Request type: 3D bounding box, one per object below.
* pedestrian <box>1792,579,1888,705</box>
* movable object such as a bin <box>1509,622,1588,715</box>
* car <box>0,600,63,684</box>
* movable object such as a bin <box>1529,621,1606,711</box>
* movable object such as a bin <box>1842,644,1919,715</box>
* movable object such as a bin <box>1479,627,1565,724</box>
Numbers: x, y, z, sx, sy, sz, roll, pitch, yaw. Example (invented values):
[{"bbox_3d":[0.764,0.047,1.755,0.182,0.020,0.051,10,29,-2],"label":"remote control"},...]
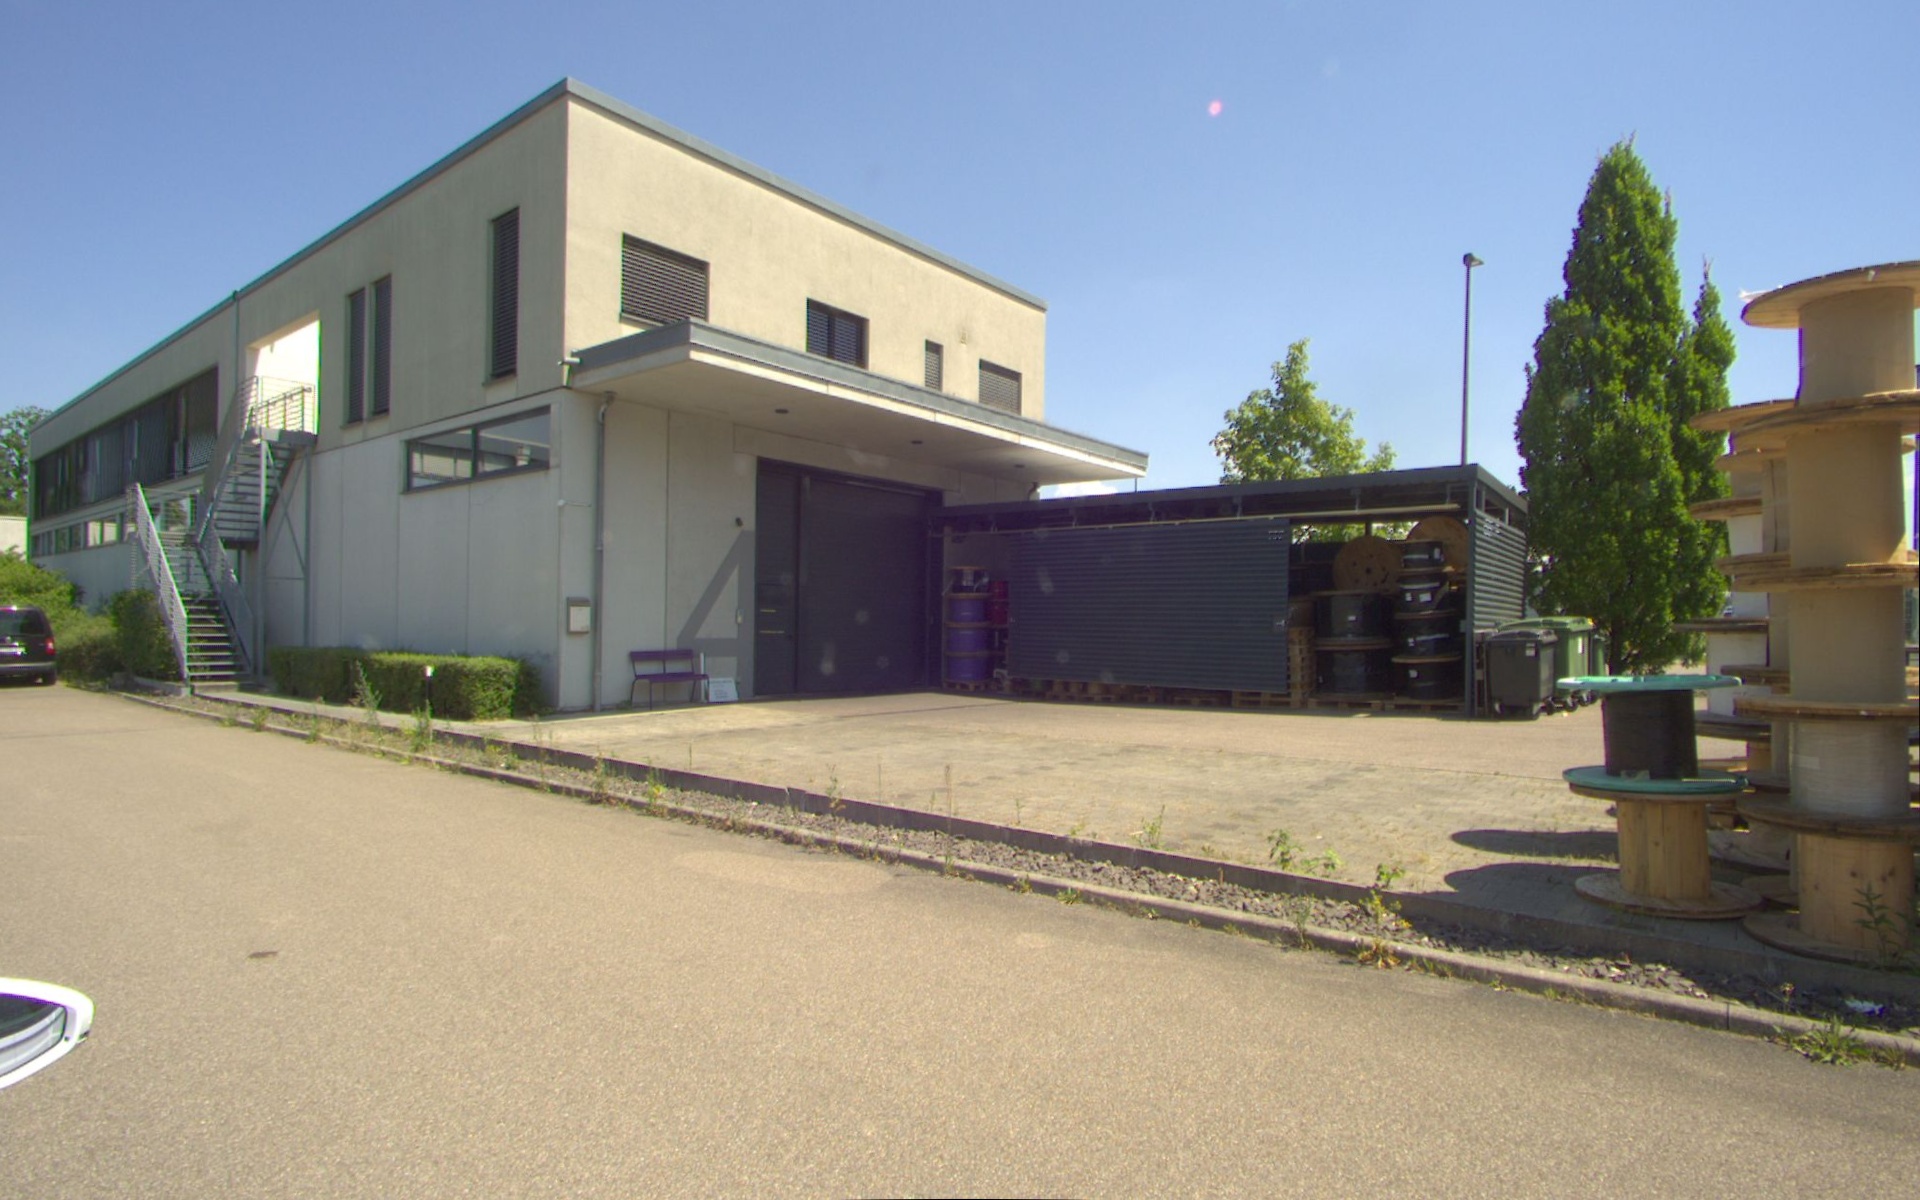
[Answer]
[{"bbox_3d":[12.976,0.607,14.781,0.756,1.792,0.807,0,0,-21],"label":"pedestrian"},{"bbox_3d":[8.643,0.988,14.708,0.748,1.314,0.794,0,-1,-43],"label":"movable object such as a bin"},{"bbox_3d":[-22.688,0.951,23.584,3.951,1.861,1.736,0,0,39],"label":"car"},{"bbox_3d":[9.271,0.984,15.285,0.802,1.314,0.794,0,-1,-43],"label":"movable object such as a bin"},{"bbox_3d":[12.473,1.069,13.583,0.537,0.929,0.585,-1,-1,14],"label":"movable object such as a bin"},{"bbox_3d":[7.749,1.020,13.803,0.867,1.266,0.794,0,-1,-43],"label":"movable object such as a bin"}]
